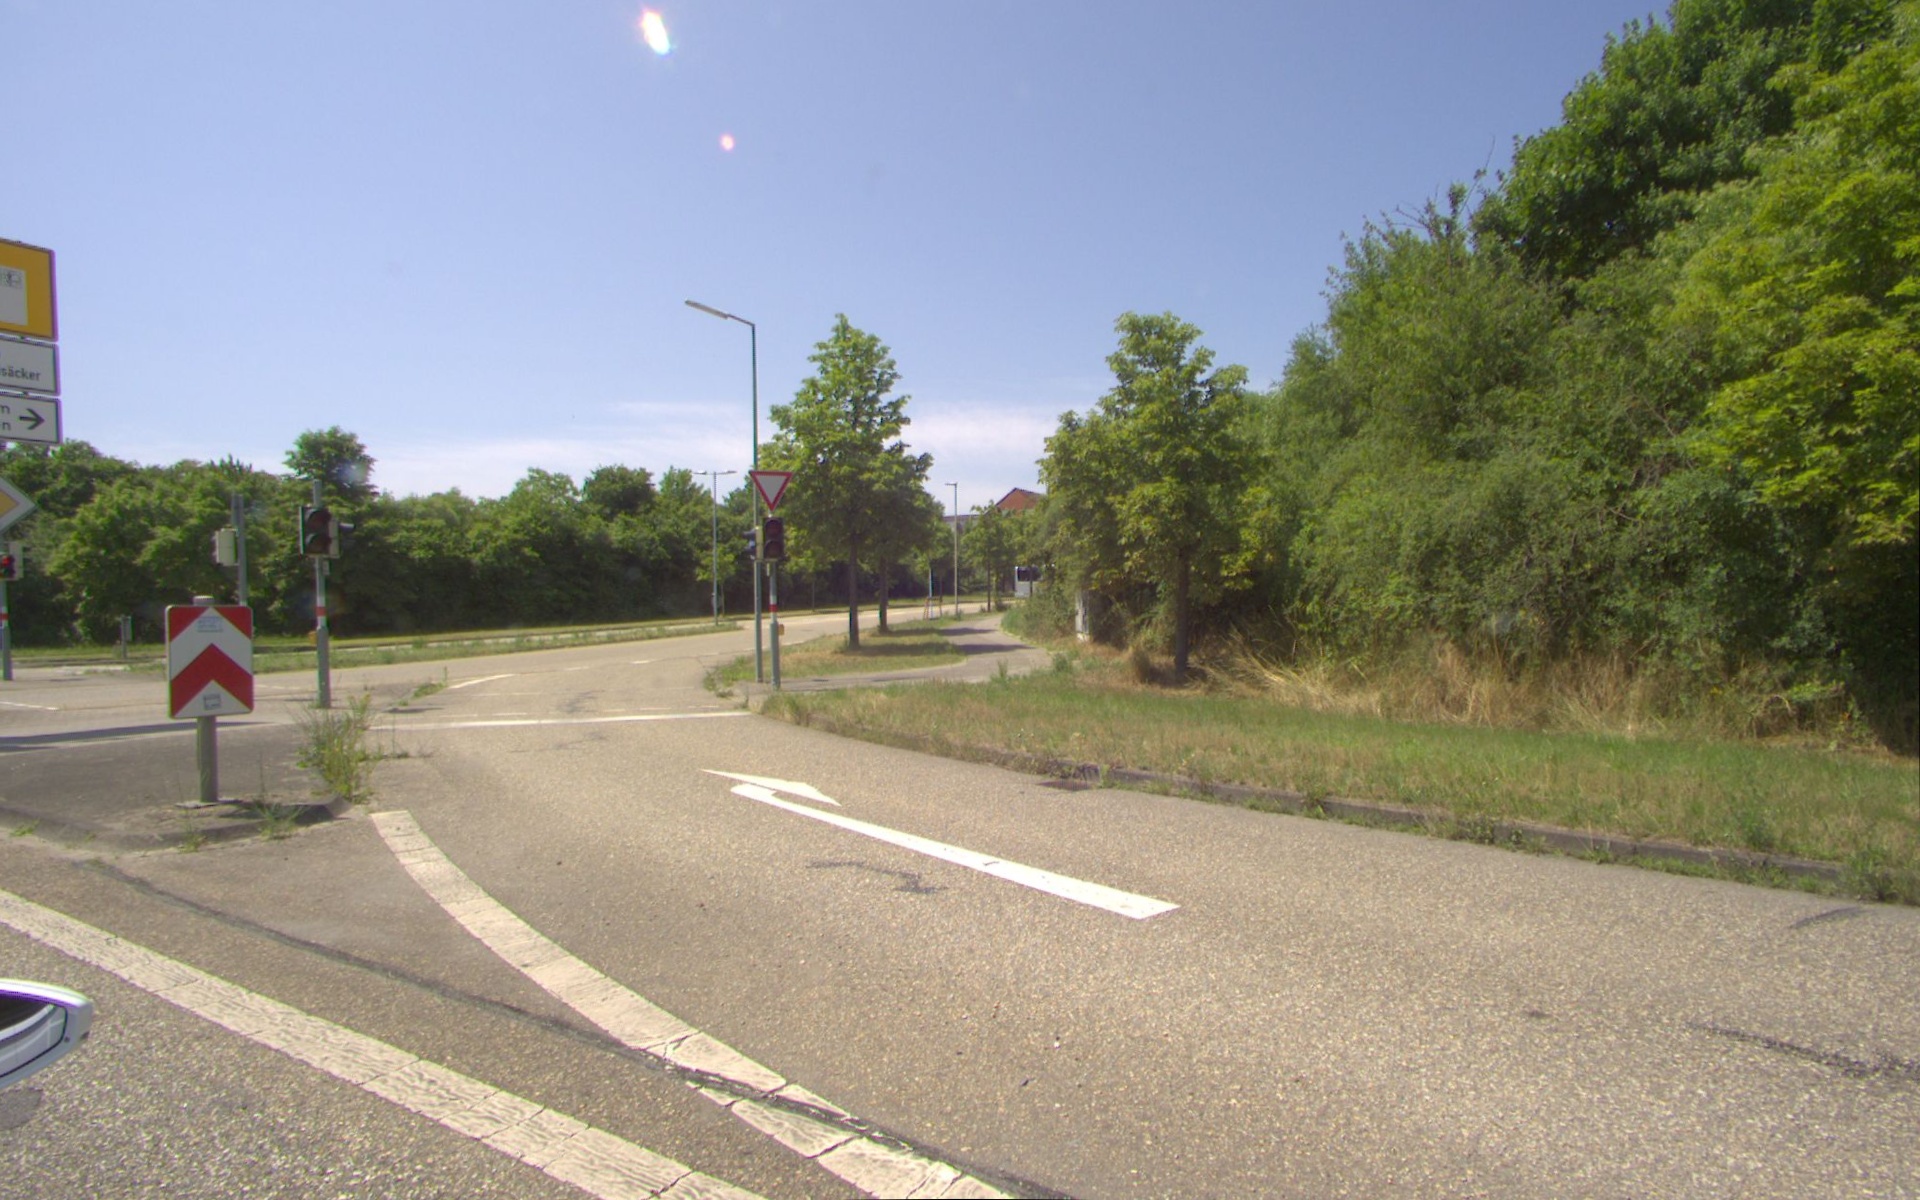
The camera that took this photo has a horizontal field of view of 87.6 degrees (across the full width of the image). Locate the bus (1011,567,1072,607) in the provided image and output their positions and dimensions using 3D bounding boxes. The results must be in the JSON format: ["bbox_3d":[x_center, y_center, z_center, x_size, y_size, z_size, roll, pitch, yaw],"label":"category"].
[{"bbox_3d":[7.174,-1.029,85.781,2.584,3.127,12.060,0,0,18],"label":"bus"}]
